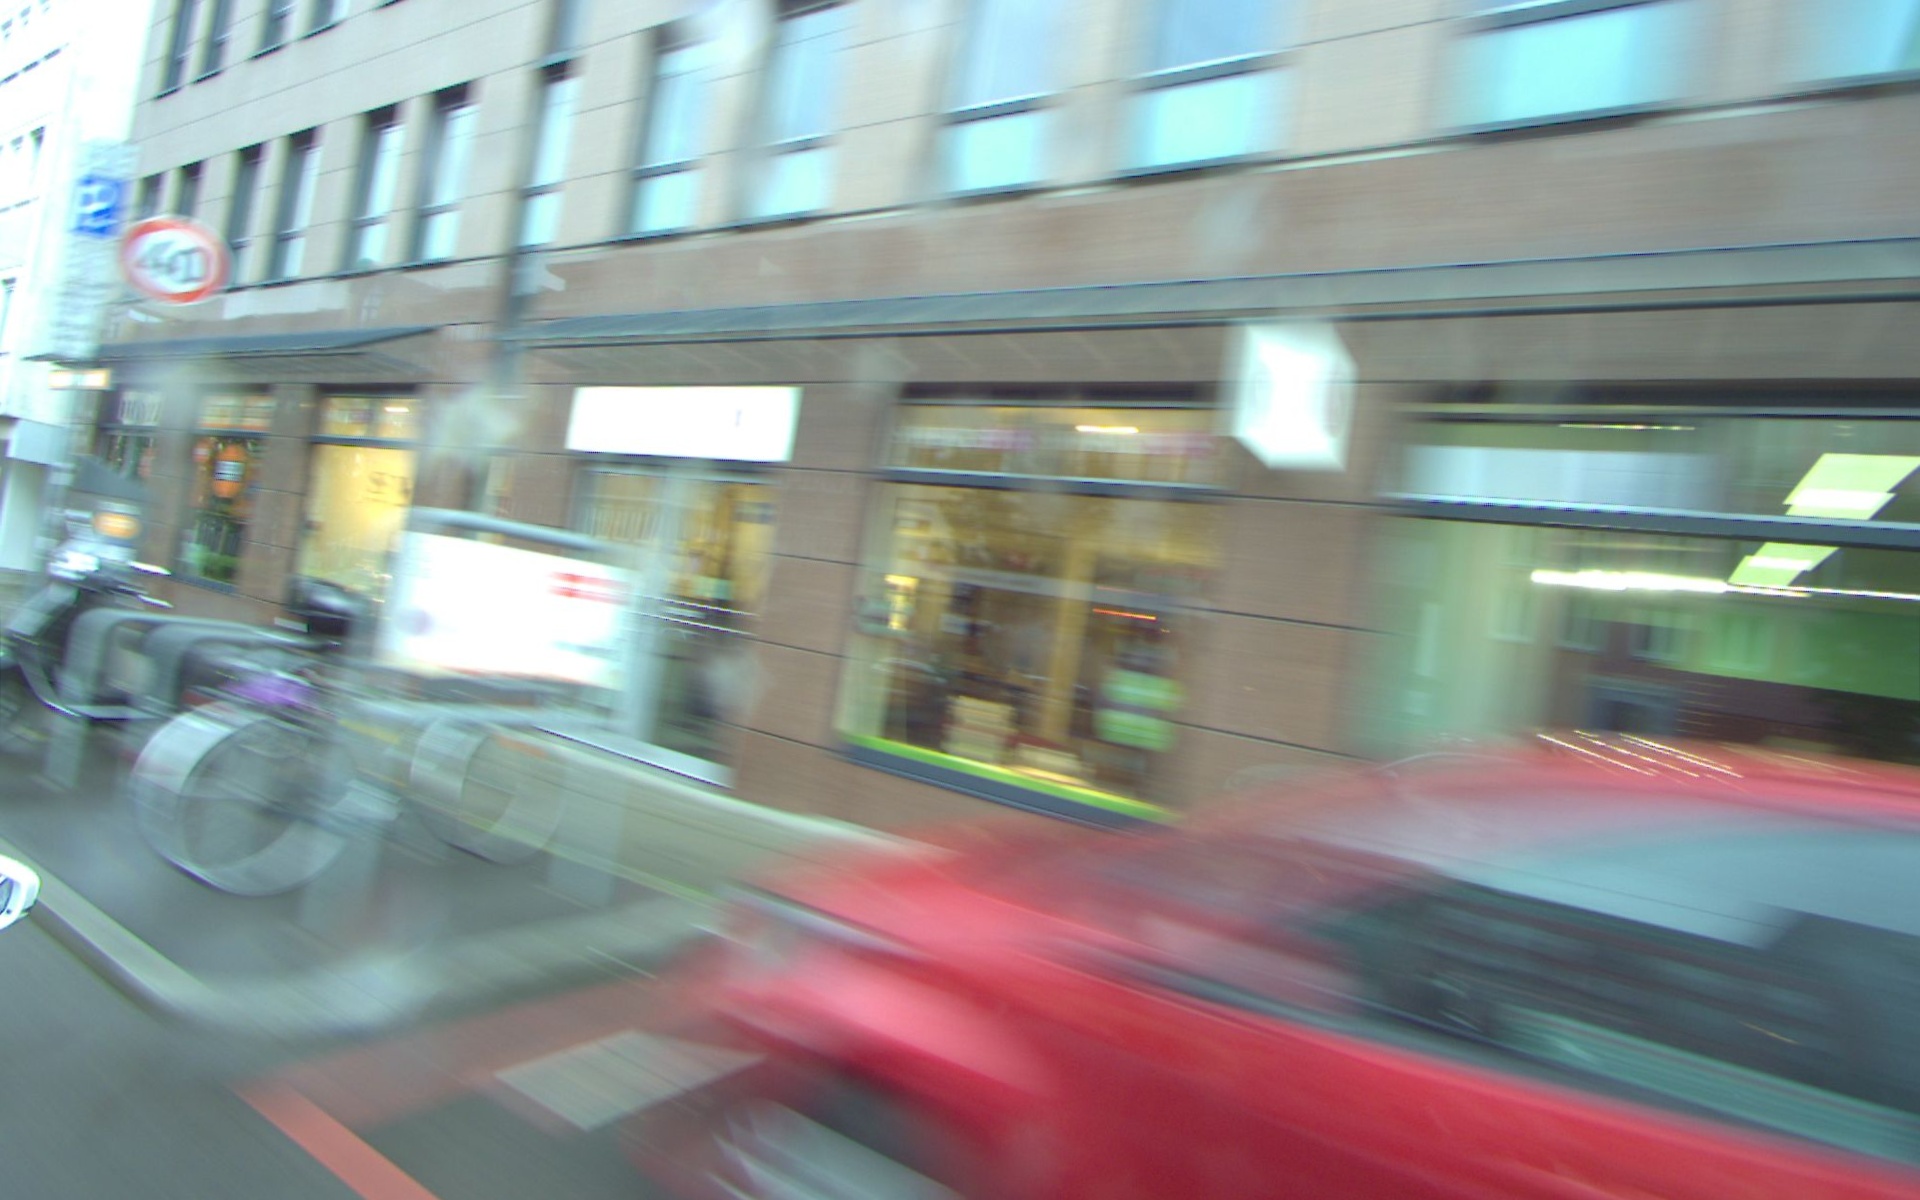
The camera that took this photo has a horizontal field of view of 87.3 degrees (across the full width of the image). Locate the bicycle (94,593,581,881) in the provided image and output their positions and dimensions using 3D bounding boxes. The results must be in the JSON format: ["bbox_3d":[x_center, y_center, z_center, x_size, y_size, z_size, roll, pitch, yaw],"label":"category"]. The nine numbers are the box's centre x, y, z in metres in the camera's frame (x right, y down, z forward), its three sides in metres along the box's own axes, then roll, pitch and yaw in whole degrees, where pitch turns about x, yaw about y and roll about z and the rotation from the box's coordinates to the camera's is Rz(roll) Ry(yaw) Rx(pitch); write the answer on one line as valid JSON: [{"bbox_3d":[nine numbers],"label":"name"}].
[{"bbox_3d":[-2.707,0.617,4.629,0.454,1.042,1.791,5,-4,32],"label":"bicycle"}]

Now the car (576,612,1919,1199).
[{"bbox_3d":[1.213,0.980,2.035,3.804,1.479,1.701,5,-2,33],"label":"car"}]

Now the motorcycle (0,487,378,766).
[{"bbox_3d":[-4.871,0.199,6.113,2.076,1.423,0.791,10,-4,-39],"label":"motorcycle"}]
